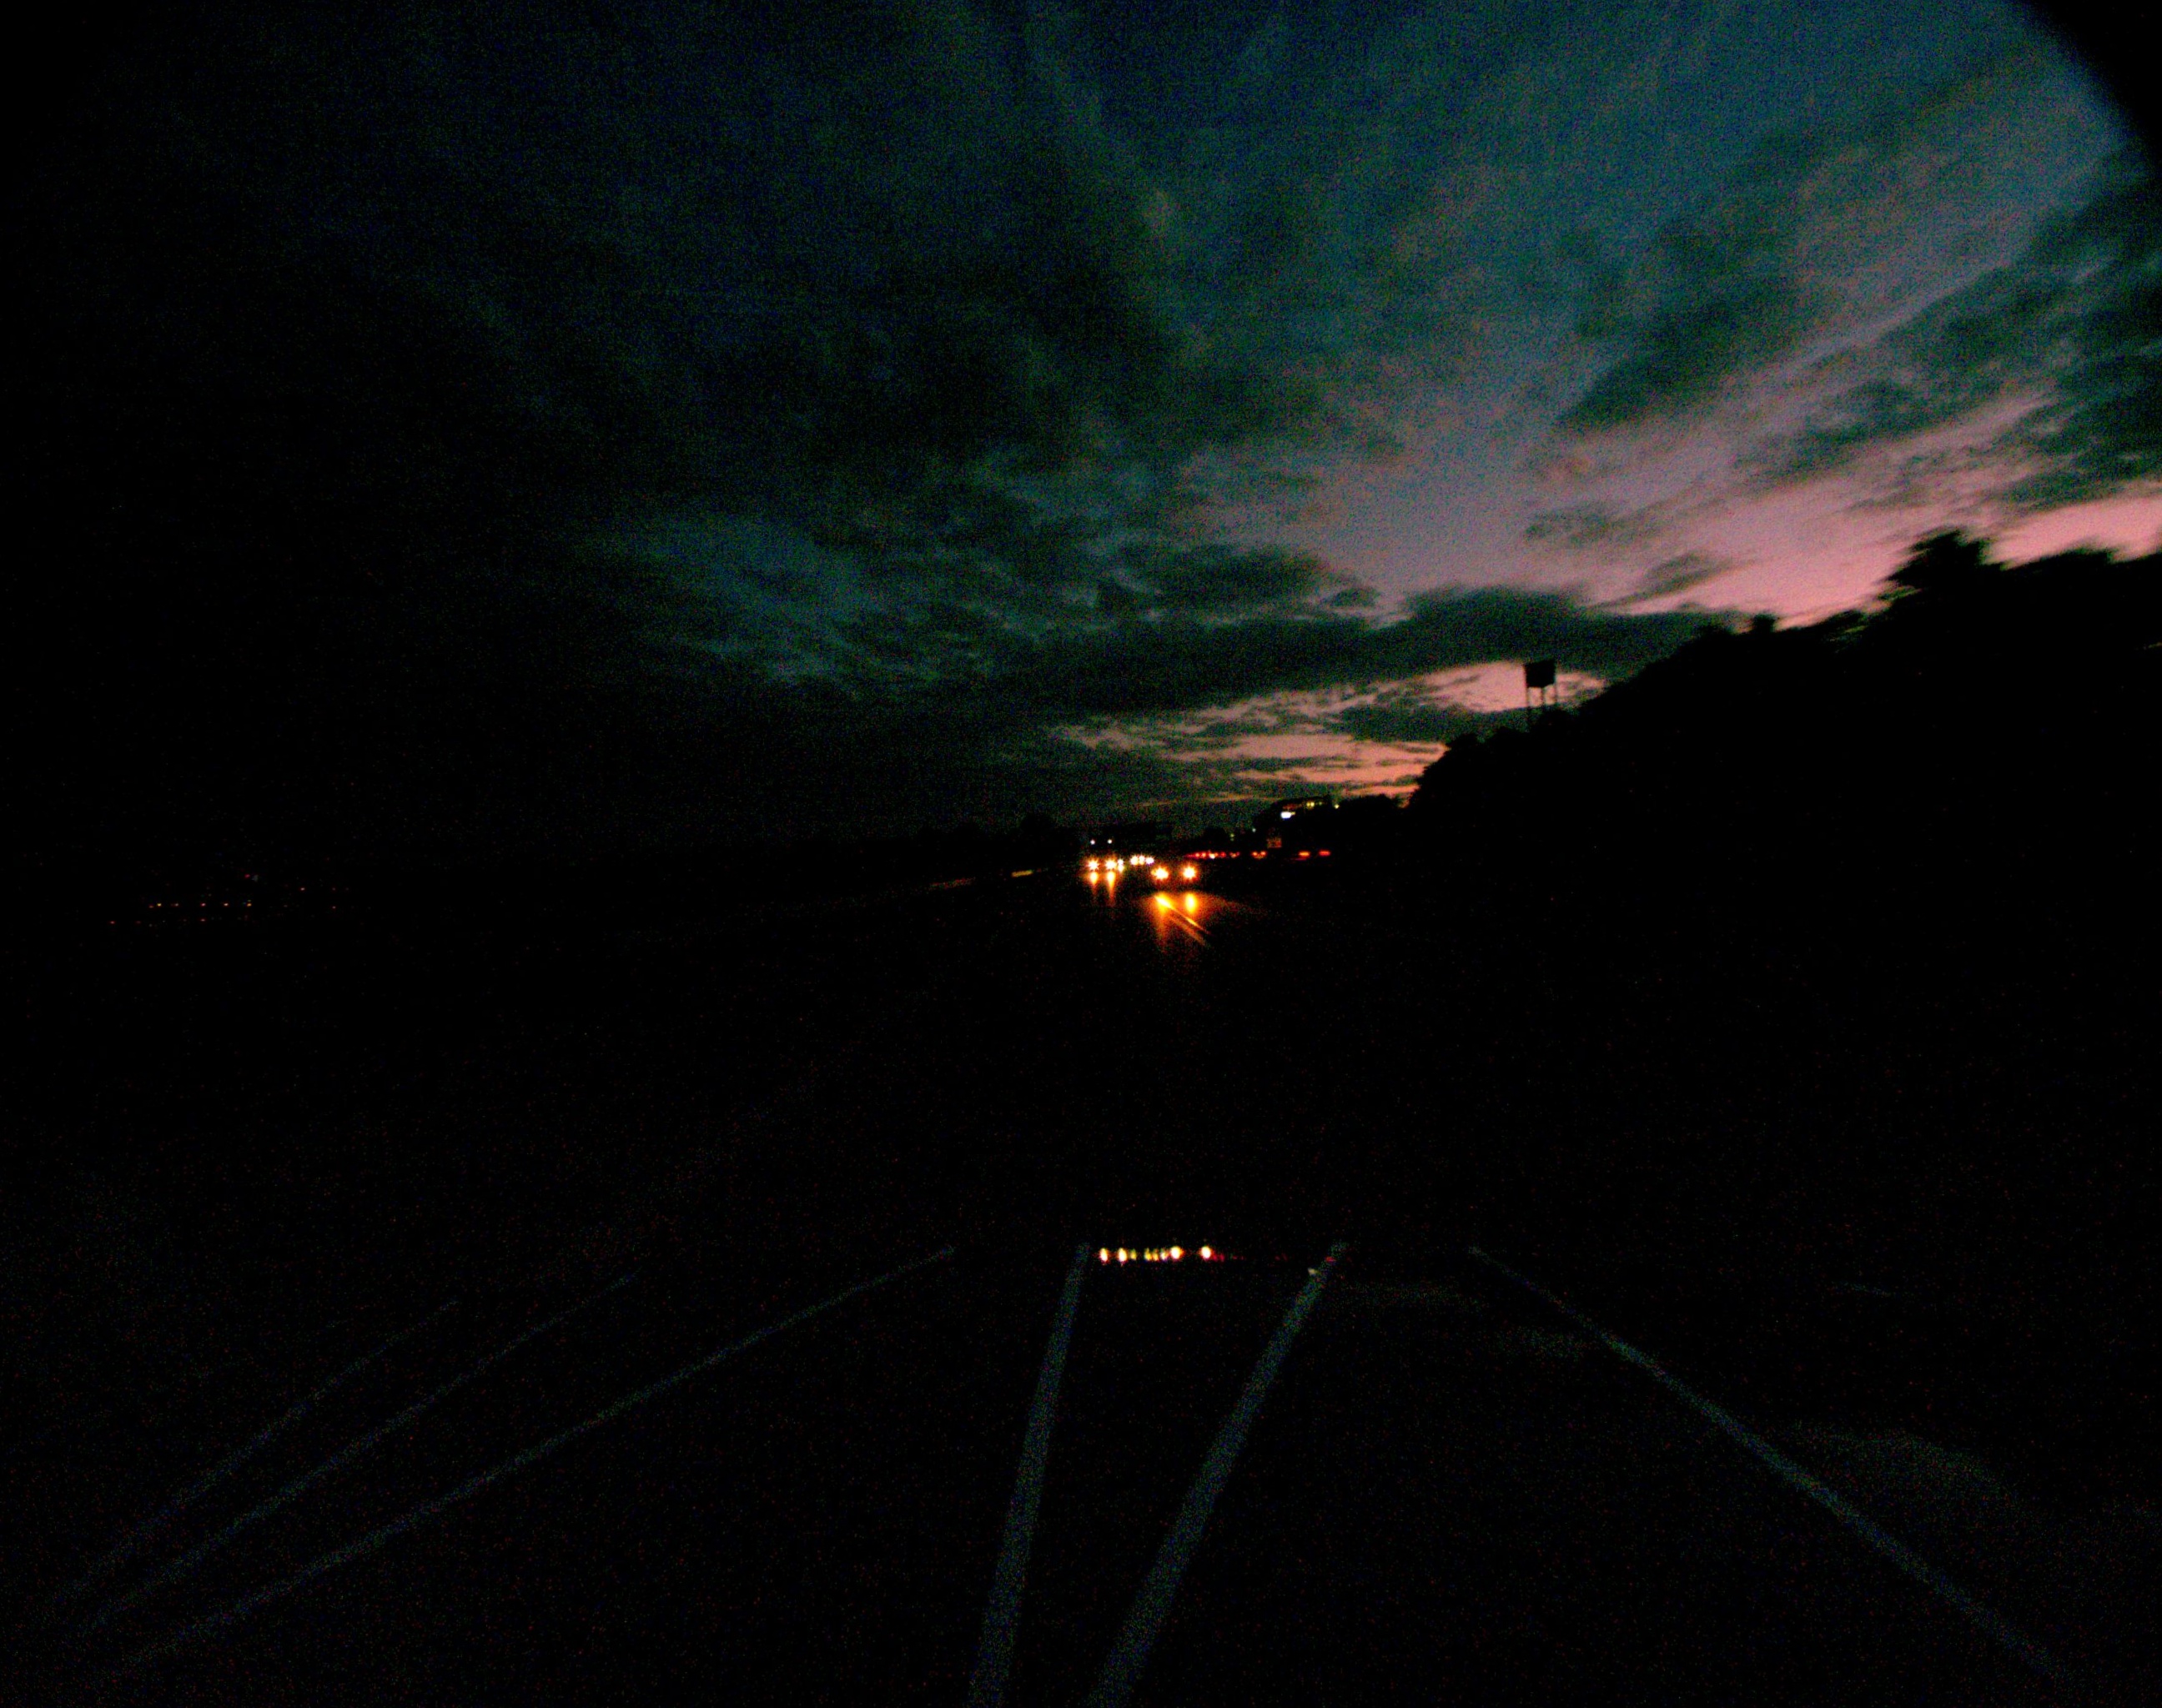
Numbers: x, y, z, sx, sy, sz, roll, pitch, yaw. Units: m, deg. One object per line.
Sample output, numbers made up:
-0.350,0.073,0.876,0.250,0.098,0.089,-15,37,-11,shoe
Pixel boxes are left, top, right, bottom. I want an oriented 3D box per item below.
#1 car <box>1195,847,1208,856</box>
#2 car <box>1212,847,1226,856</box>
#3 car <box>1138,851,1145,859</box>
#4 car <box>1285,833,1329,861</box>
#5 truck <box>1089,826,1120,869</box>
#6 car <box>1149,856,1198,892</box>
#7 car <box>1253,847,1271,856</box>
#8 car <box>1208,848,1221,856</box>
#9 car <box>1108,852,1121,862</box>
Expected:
24.895,-0.584,157.305,1.998,1.725,5.051,-3,0,3,car
26.799,-0.502,147.413,1.998,1.496,4.558,-3,0,3,car
14.186,0.269,178.385,1.652,1.654,3.776,-3,1,4,car
21.568,-0.691,72.895,2.331,2.417,7.095,-3,0,2,car
2.667,-0.683,85.577,3.026,4.372,11.616,-3,0,2,truck
4.227,0.888,35.230,1.717,1.471,4.000,-3,0,0,car
29.429,-0.446,123.629,1.998,1.451,4.237,-3,0,3,car
28.864,-0.455,164.388,1.998,1.464,5.024,-3,0,3,car
5.997,0.573,136.193,1.998,1.715,4.001,-3,1,4,car
